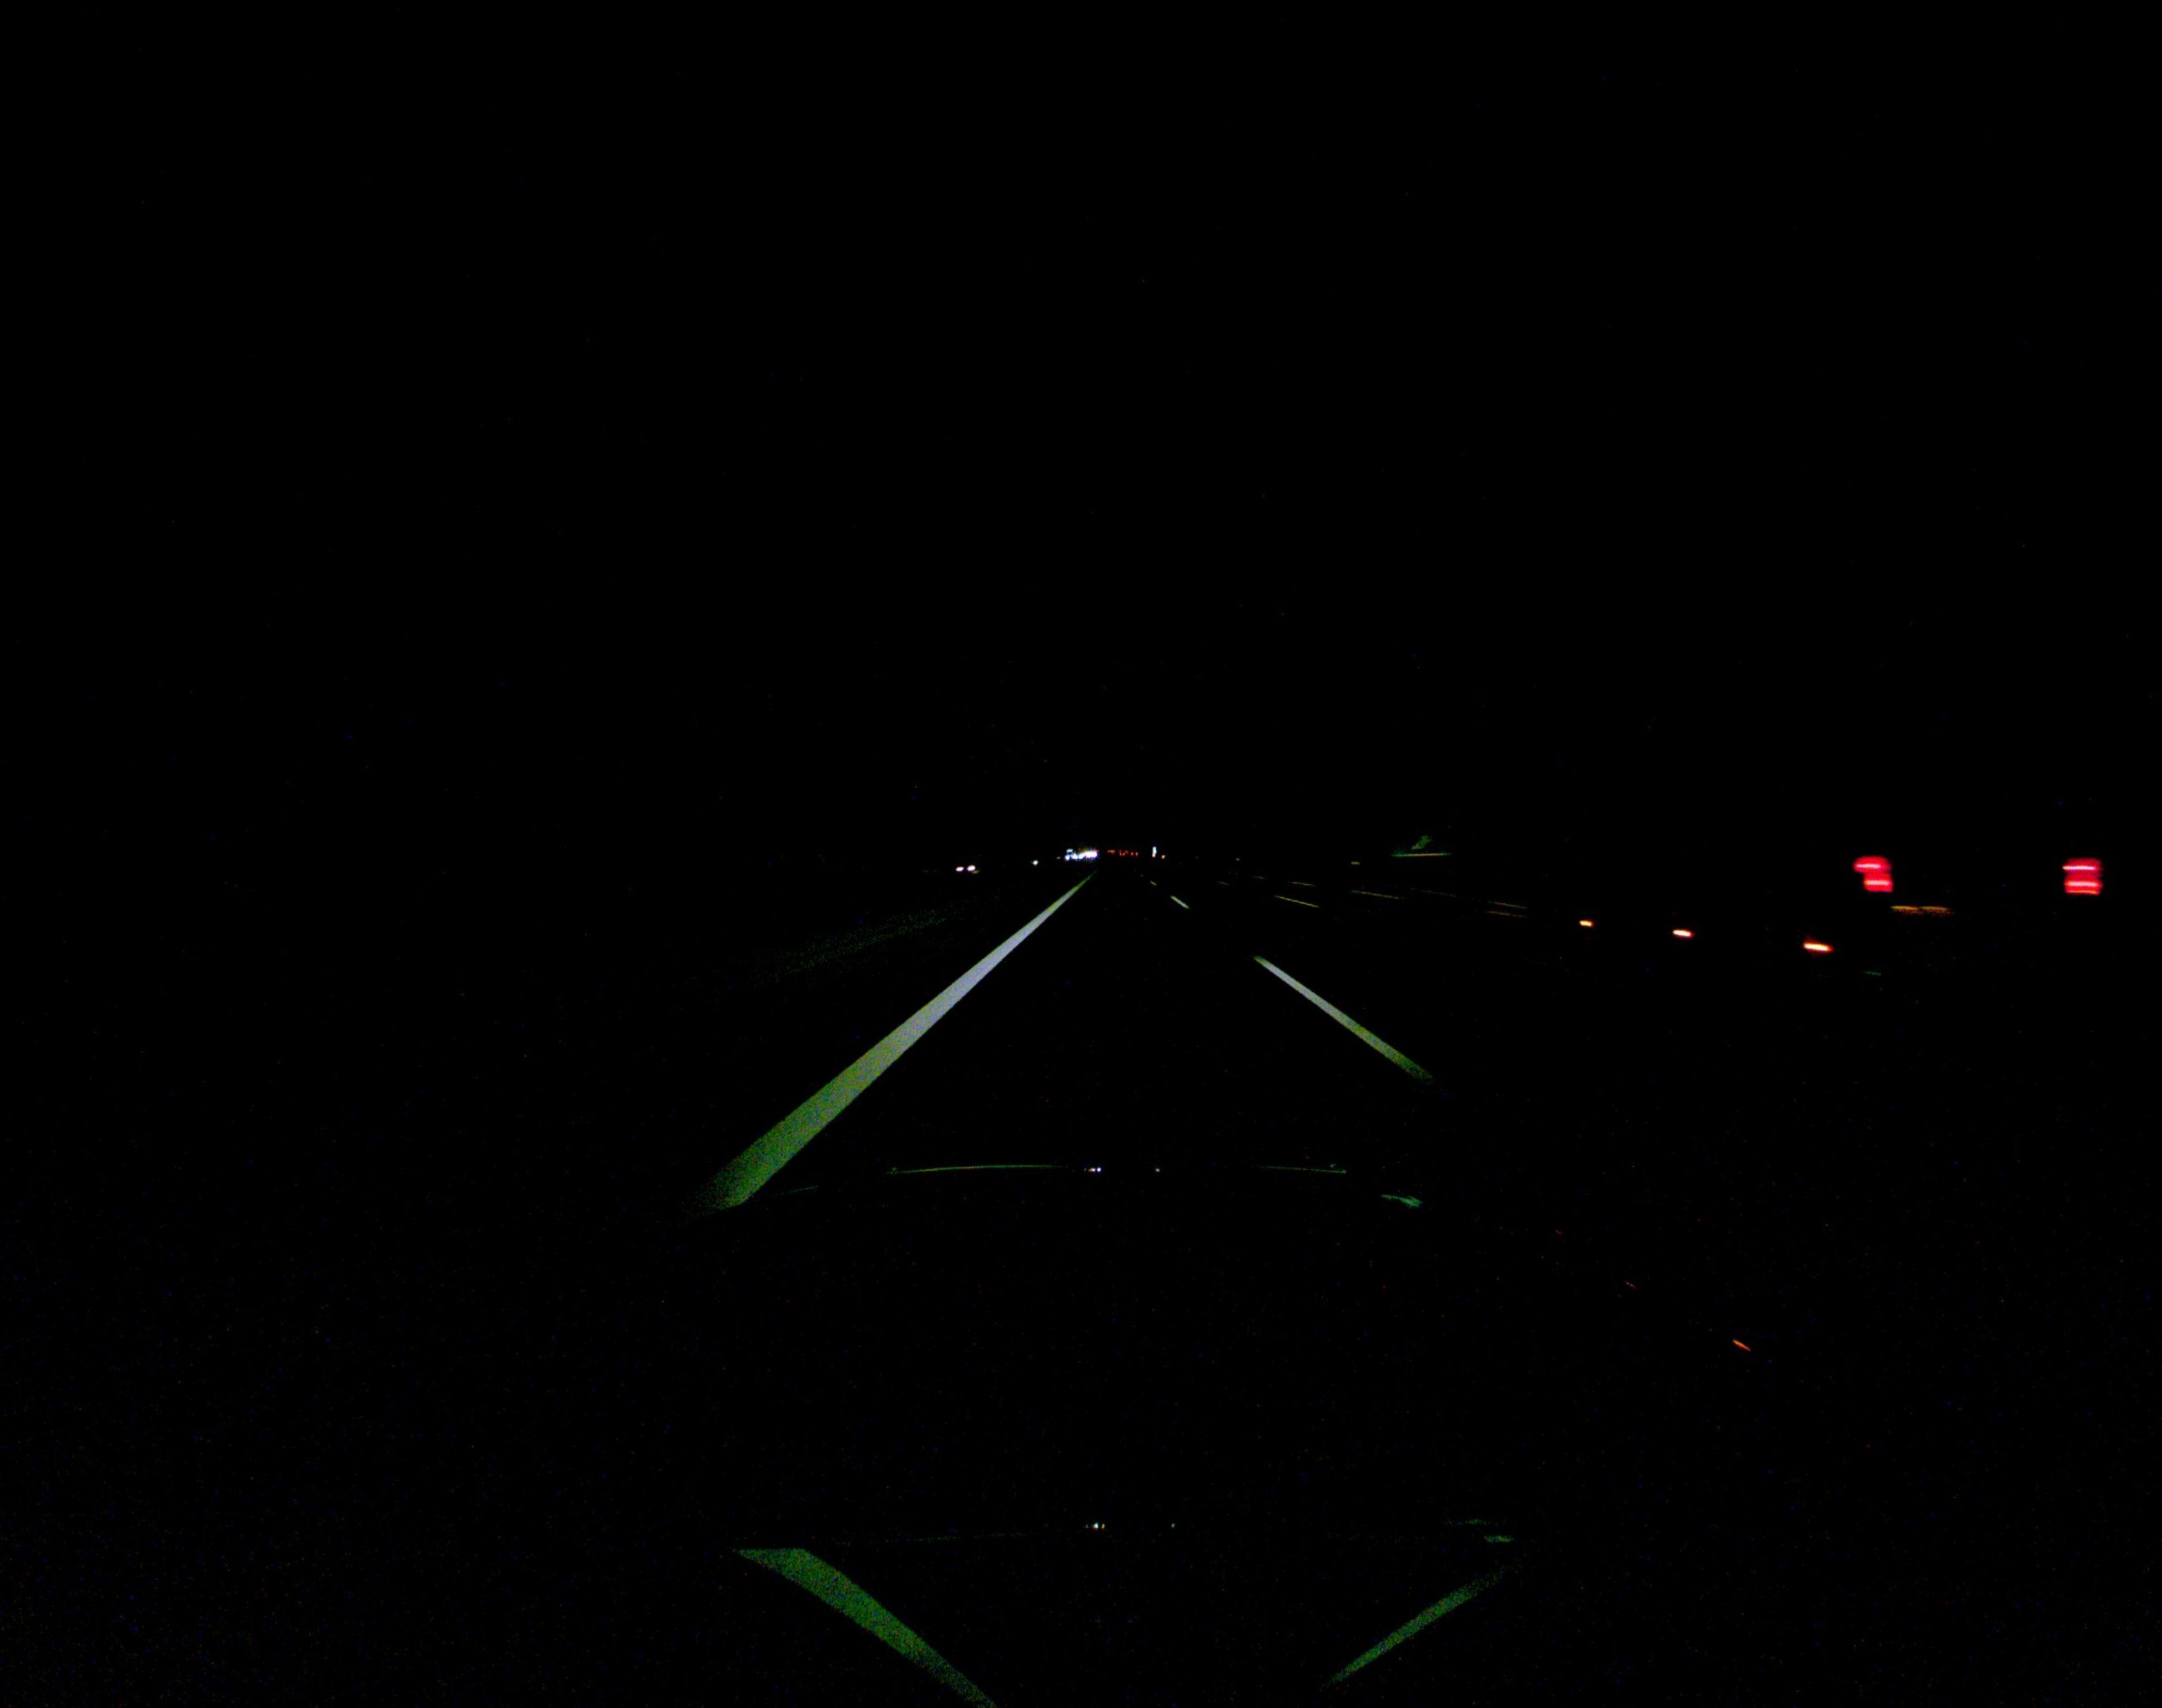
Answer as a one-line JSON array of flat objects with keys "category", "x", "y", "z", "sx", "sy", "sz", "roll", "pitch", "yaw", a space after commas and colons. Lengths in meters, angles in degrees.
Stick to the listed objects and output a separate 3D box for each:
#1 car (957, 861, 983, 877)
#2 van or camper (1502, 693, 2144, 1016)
[{"category": "car", "x": -12.576, "y": 1.699, "z": 92.864, "sx": 1.986, "sy": 1.551, "sz": 5.007, "roll": -5, "pitch": 0, "yaw": 2}, {"category": "van or camper", "x": 8.159, "y": -0.009, "z": 10.432, "sx": 2.198, "sy": 2.771, "sz": 6.807, "roll": 0, "pitch": 0, "yaw": 2}]
